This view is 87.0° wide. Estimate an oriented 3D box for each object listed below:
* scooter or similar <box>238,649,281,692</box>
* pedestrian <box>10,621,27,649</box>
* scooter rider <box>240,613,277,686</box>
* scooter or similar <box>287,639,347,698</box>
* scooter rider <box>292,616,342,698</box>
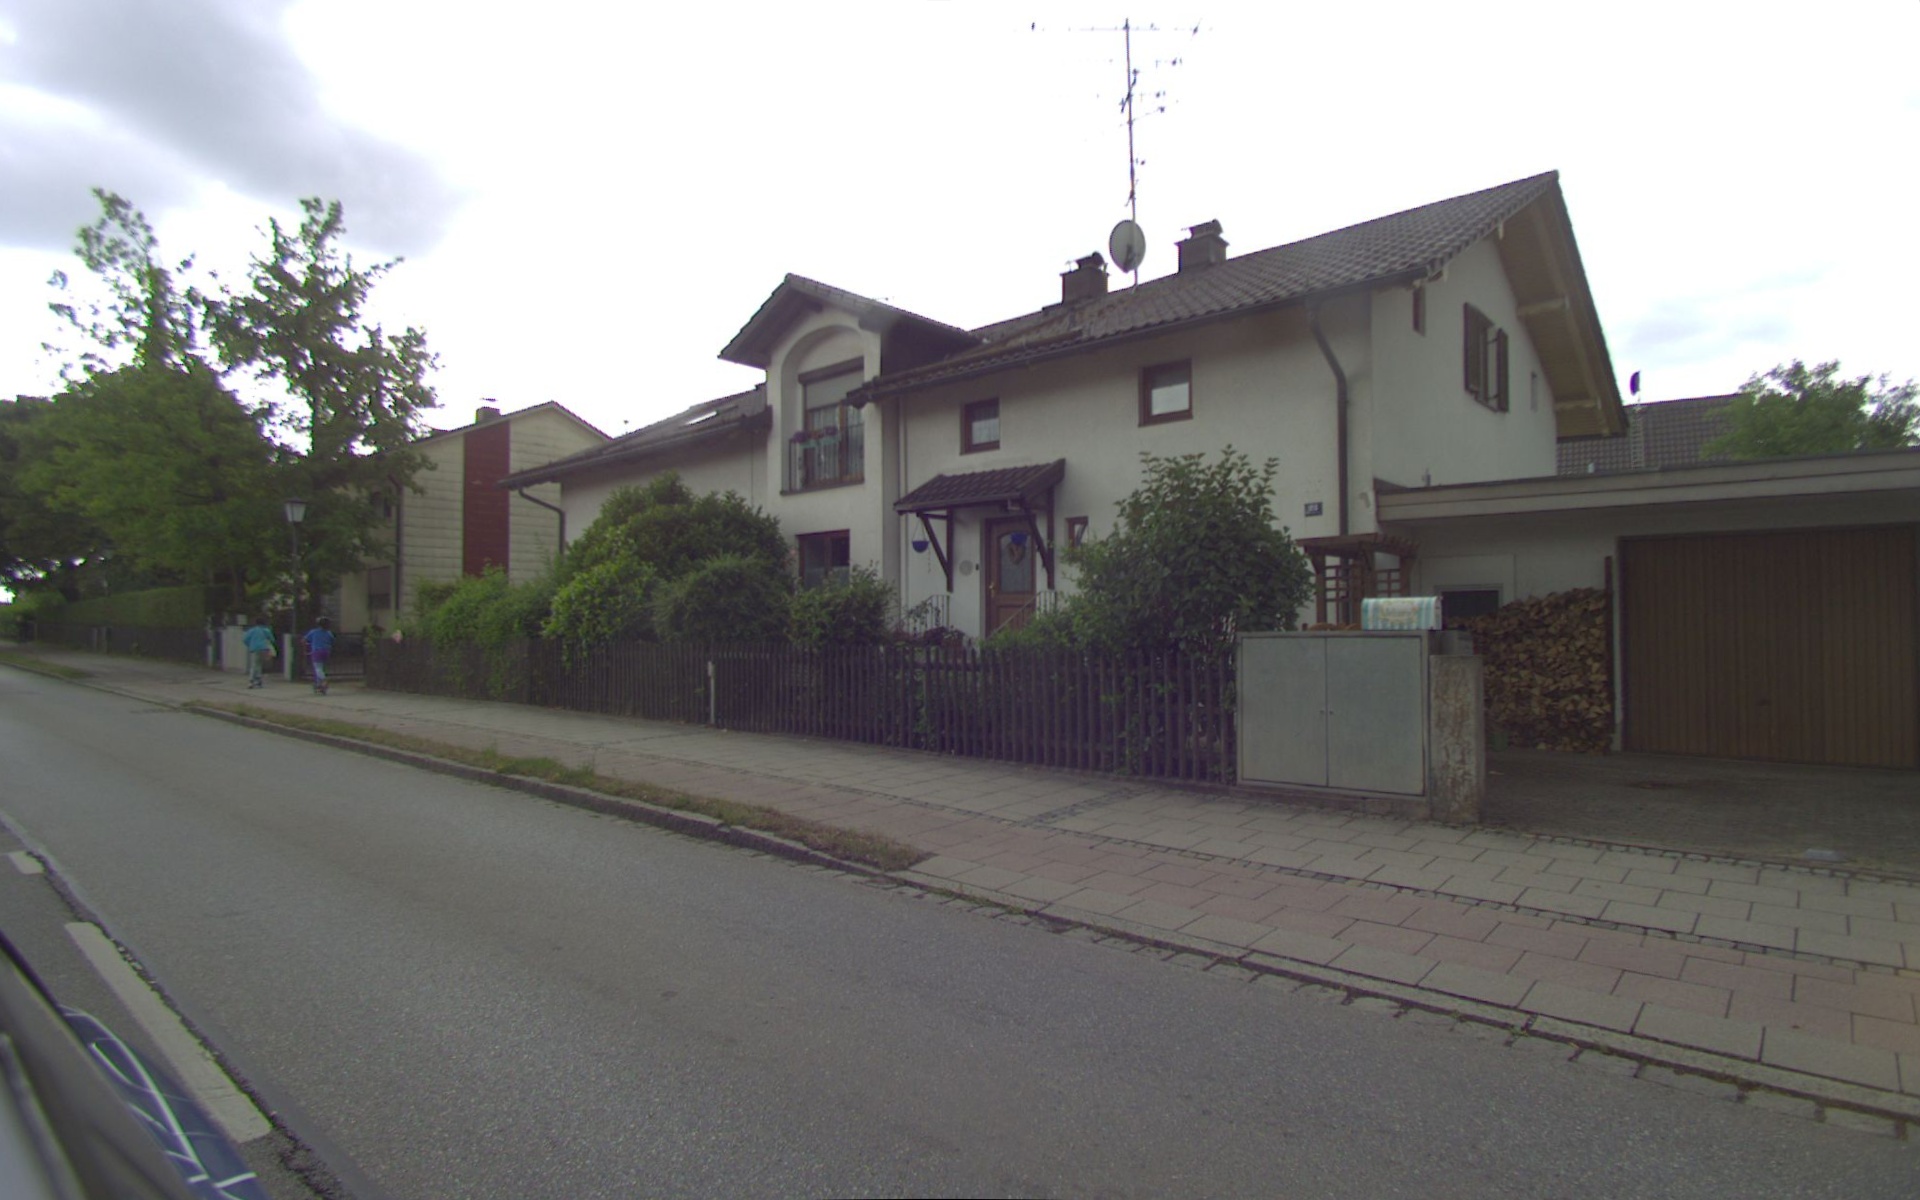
[{"bbox_3d":[-14.840,1.484,21.420,1.061,0.856,0.516,-1,-1,42],"label":"scooter or similar"},{"bbox_3d":[-50.406,1.858,54.182,0.563,1.448,0.623,-1,-1,41],"label":"pedestrian"},{"bbox_3d":[-14.875,1.041,21.450,0.716,1.501,0.497,-2,-1,42],"label":"scooter rider"},{"bbox_3d":[-11.999,1.265,18.868,1.178,1.045,0.654,-1,-2,42],"label":"scooter or similar"},{"bbox_3d":[-11.962,1.052,18.829,0.580,1.484,0.655,-2,-1,41],"label":"scooter rider"}]
